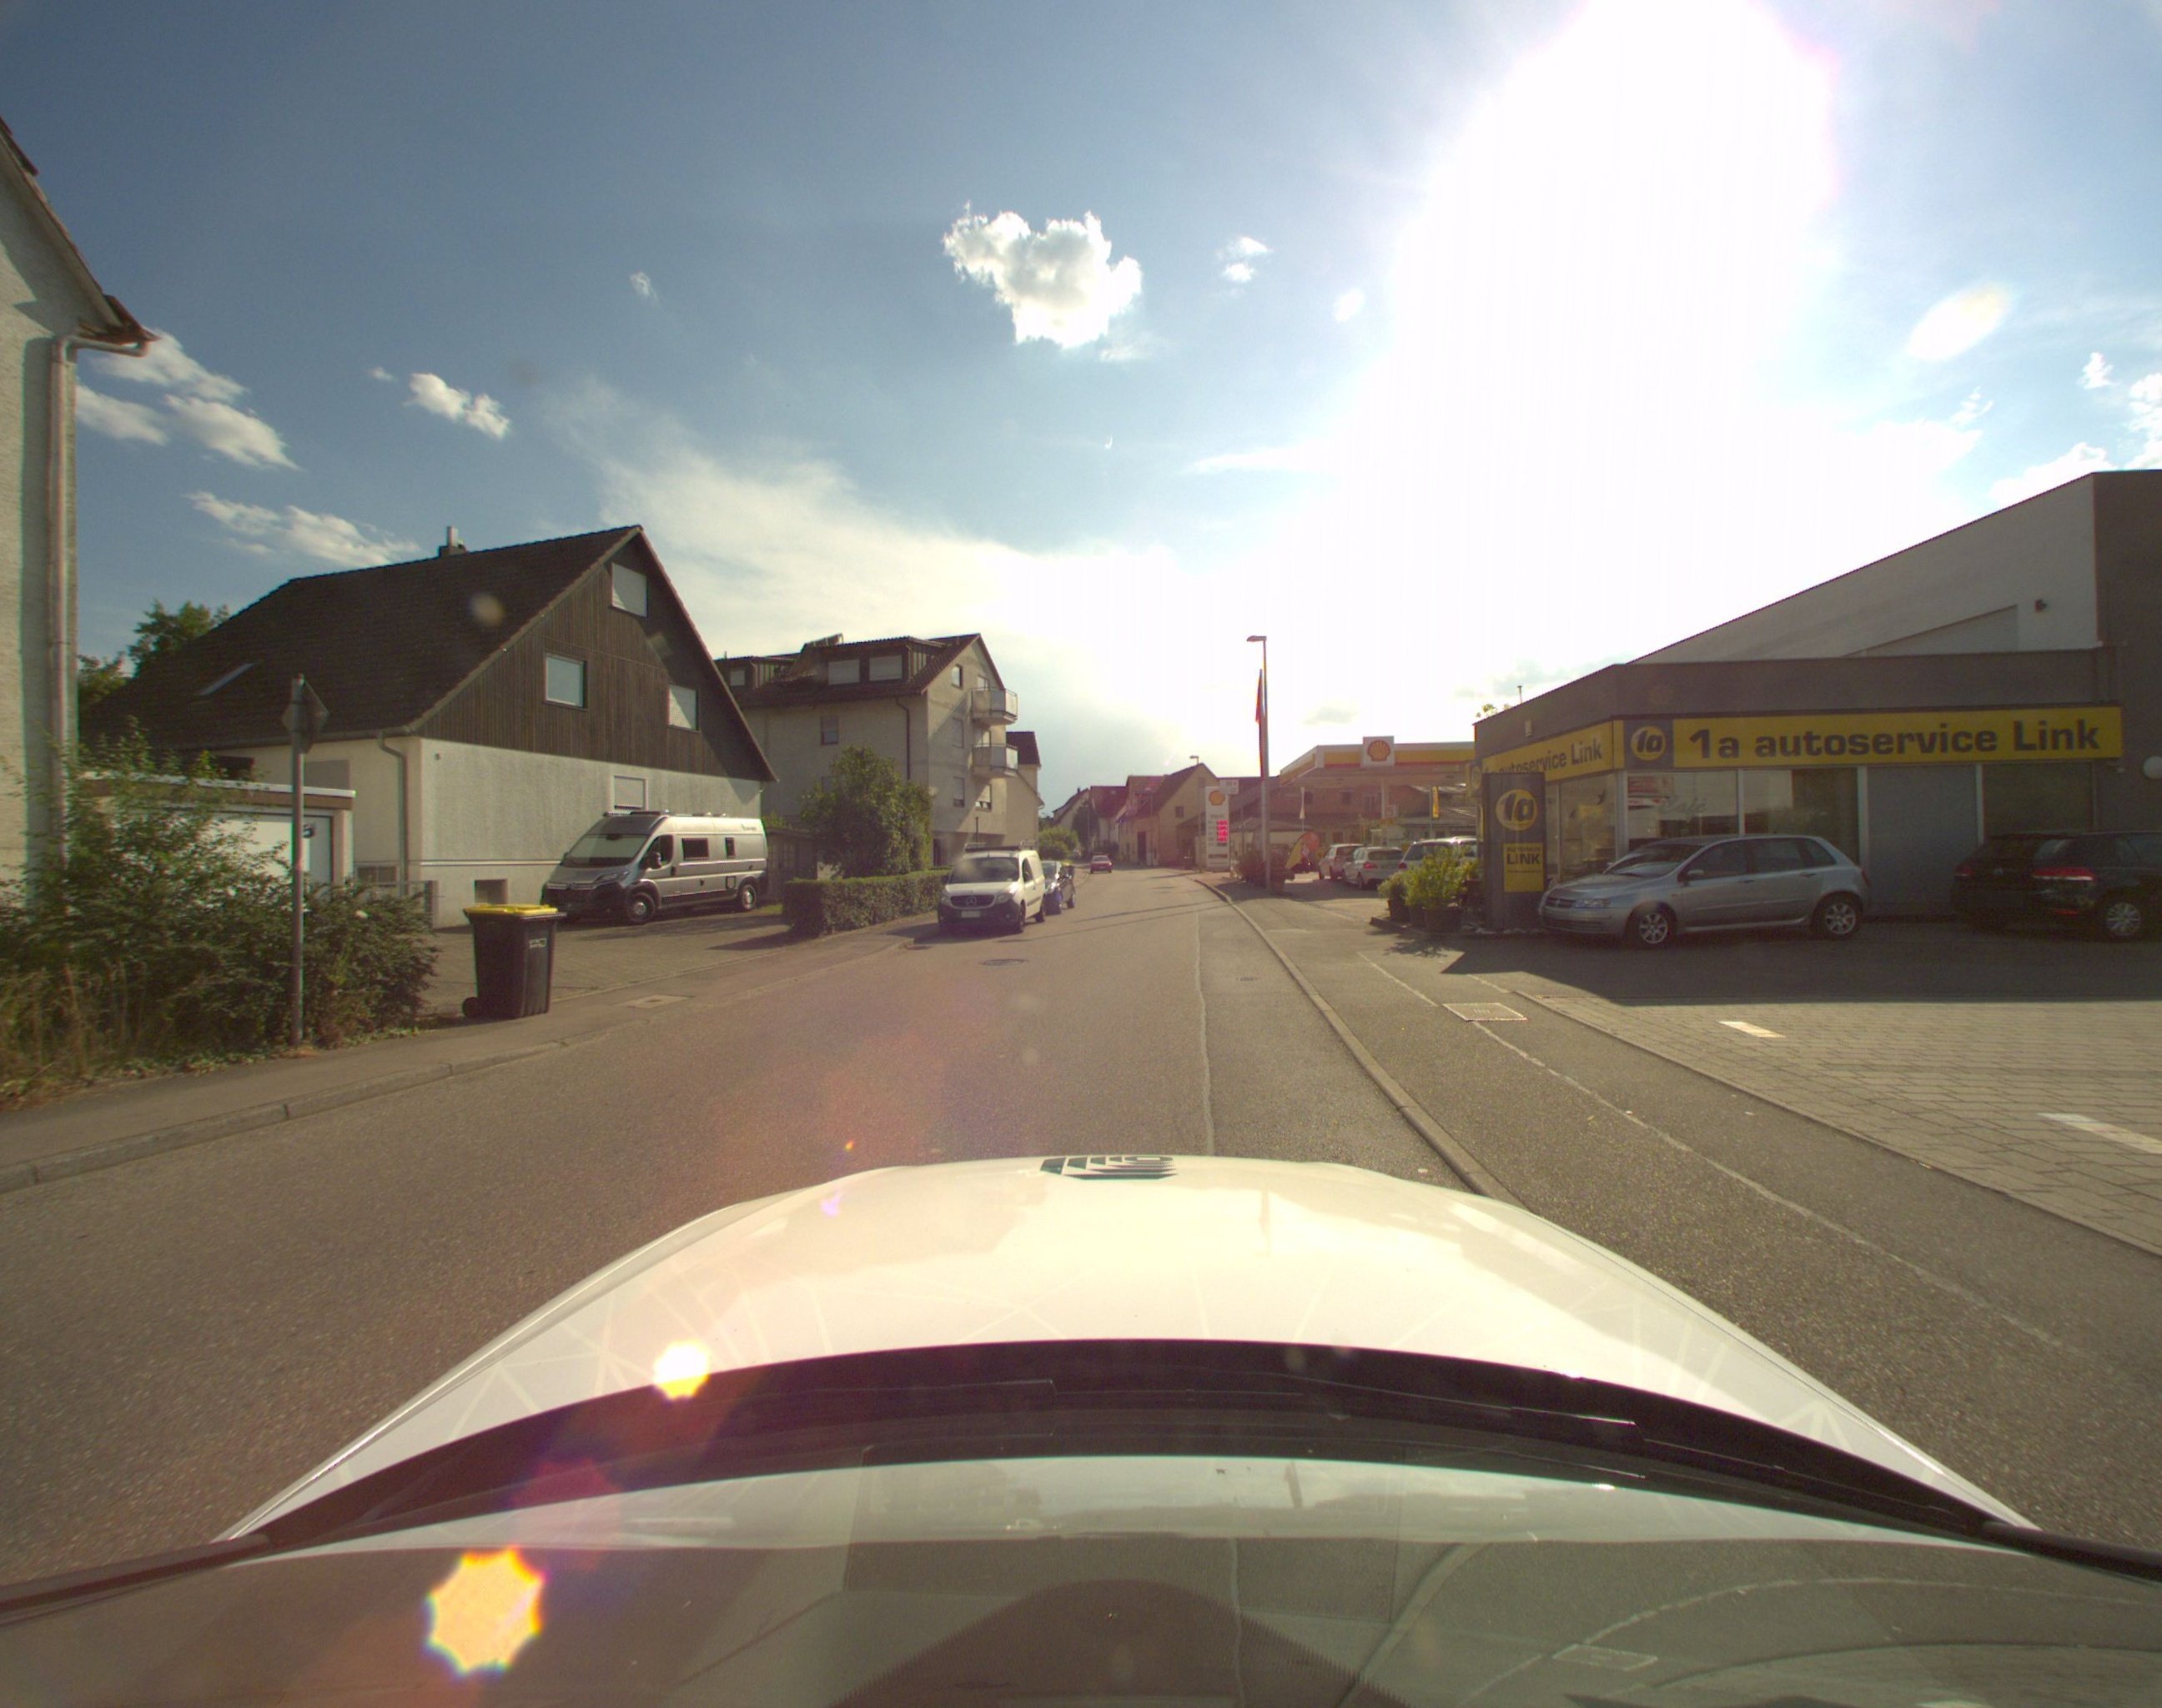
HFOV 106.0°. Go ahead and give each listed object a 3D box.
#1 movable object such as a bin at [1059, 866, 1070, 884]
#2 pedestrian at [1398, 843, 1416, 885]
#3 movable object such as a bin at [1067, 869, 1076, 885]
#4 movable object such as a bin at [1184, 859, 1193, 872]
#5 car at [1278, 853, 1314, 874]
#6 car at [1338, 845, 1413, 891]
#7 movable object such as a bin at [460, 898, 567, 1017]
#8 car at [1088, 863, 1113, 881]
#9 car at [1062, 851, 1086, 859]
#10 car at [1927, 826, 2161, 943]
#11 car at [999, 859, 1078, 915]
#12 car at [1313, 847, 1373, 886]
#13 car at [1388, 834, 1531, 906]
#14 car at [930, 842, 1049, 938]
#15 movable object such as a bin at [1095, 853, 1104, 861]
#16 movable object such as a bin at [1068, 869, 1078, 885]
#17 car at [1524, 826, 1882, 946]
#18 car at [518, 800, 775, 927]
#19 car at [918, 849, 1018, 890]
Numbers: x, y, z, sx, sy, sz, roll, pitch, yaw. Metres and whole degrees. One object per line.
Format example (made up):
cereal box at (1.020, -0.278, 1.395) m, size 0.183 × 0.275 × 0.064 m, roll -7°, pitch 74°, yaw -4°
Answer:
movable object such as a bin at (-1.038, 1.321, 51.516) m, size 0.585 × 1.084 × 0.508 m, roll -3°, pitch -1°, yaw 5°
pedestrian at (13.178, 0.389, 32.931) m, size 0.498 × 1.670 × 0.535 m, roll -1°, pitch -1°, yaw 5°
movable object such as a bin at (-0.620, 1.519, 53.401) m, size 0.529 × 1.022 × 0.458 m, roll -3°, pitch -1°, yaw 5°
movable object such as a bin at (8.985, 0.996, 67.919) m, size 0.650 × 1.073 × 0.513 m, roll -1°, pitch 0°, yaw 2°
car at (14.782, 0.632, 56.158) m, size 1.571 × 1.427 × 4.386 m, roll 0°, pitch 0°, yaw 4°
car at (11.033, 0.482, 30.768) m, size 1.663 × 1.577 × 4.005 m, roll -1°, pitch 0°, yaw 5°
movable object such as a bin at (-5.611, 1.003, 8.078) m, size 0.608 × 1.101 × 0.577 m, roll 0°, pitch -2°, yaw 6°
car at (1.624, 1.511, 68.373) m, size 1.705 × 1.435 × 3.775 m, roll -2°, pitch -1°, yaw -4°
car at (-1.223, 0.198, 138.579) m, size 3.978 × 1.352 × 1.708 m, roll -1°, pitch 0°, yaw -4°
car at (14.534, 0.363, 11.241) m, size 3.889 × 1.467 × 1.718 m, roll -1°, pitch 1°, yaw 2°
car at (-1.158, 0.903, 23.890) m, size 1.664 × 1.451 × 3.841 m, roll -2°, pitch 0°, yaw 7°
car at (11.553, 0.512, 36.151) m, size 1.663 × 1.577 × 4.005 m, roll -1°, pitch 0°, yaw 5°
car at (10.126, 0.385, 21.666) m, size 4.097 × 1.674 × 1.658 m, roll -2°, pitch -1°, yaw -37°
car at (-1.925, 0.733, 18.484) m, size 1.707 × 1.872 × 4.200 m, roll -2°, pitch -1°, yaw 7°
movable object such as a bin at (2.639, 0.436, 117.561) m, size 1.159 × 1.168 × 0.653 m, roll -1°, pitch 0°, yaw -7°
movable object such as a bin at (-0.521, 1.521, 53.892) m, size 0.529 × 1.022 × 0.458 m, roll -3°, pitch -1°, yaw 5°
car at (8.781, 0.439, 11.721) m, size 3.973 × 1.531 × 1.527 m, roll -1°, pitch -1°, yaw 0°
car at (-10.125, 0.196, 19.816) m, size 2.145 × 2.596 × 6.112 m, roll 0°, pitch 0°, yaw 11°
car at (-5.045, 0.656, 36.517) m, size 3.956 × 1.538 × 1.770 m, roll 4°, pitch 1°, yaw 17°
